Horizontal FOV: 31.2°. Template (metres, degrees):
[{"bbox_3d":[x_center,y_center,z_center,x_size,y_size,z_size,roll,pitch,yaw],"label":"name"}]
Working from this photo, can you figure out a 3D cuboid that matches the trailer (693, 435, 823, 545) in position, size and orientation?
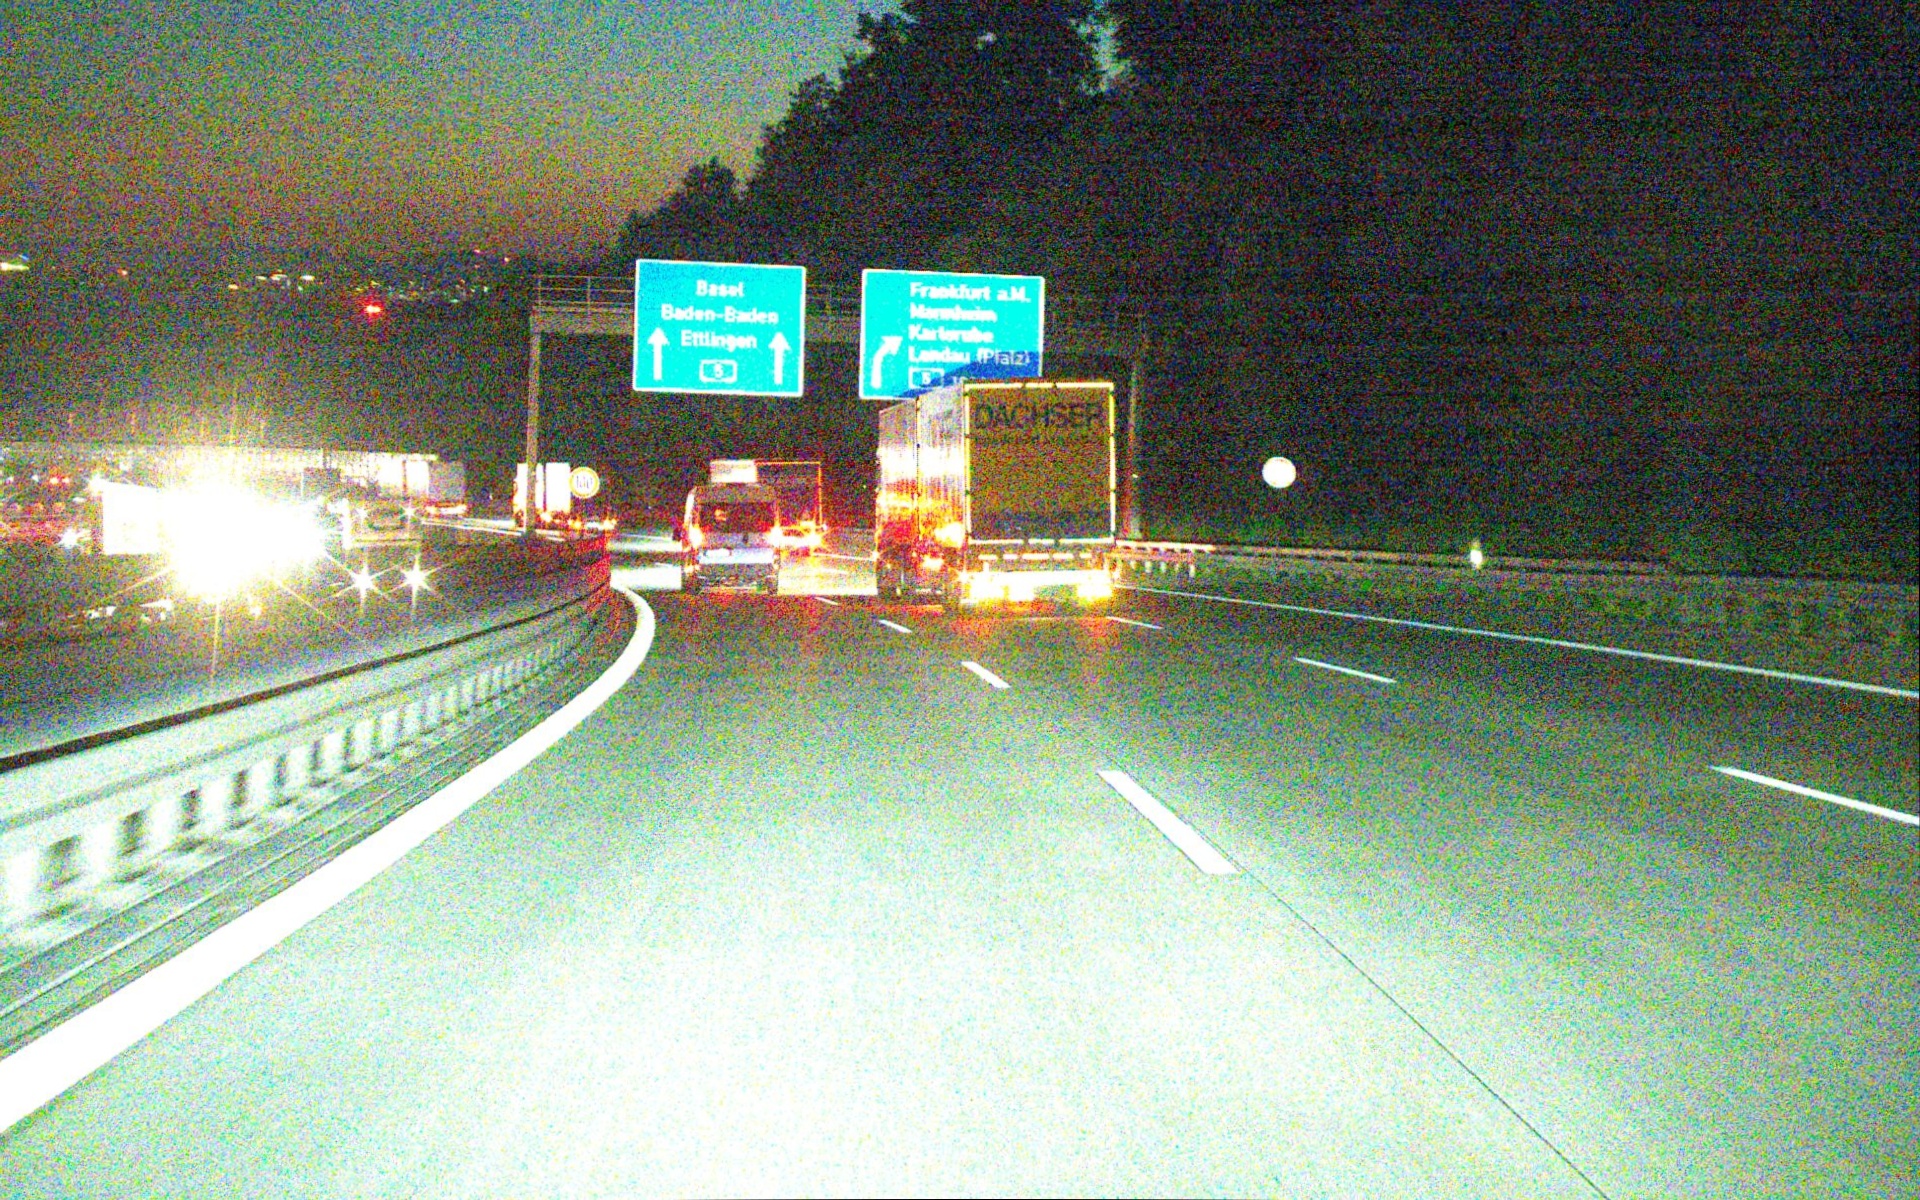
[{"bbox_3d":[-8.216,-4.520,137.798,2.853,4.053,13.211,-2,3,-13],"label":"trailer"}]

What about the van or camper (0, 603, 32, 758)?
[{"bbox_3d":[-13.831,1.143,45.702,1.993,2.006,5.223,-2,2,-6],"label":"van or camper"}]

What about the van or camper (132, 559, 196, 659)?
[{"bbox_3d":[-25.427,0.232,109.906,1.833,2.961,6.402,-2,2,-13],"label":"van or camper"}]

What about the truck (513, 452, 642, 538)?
[{"bbox_3d":[-22.645,-6.280,201.765,3.914,4.611,21.027,-2,3,-16],"label":"truck"}]

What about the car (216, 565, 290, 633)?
[{"bbox_3d":[-16.336,0.002,79.373,1.605,1.474,4.075,0,-1,-12],"label":"car"}]

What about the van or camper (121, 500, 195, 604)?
[{"bbox_3d":[-27.125,-1.646,116.350,2.268,3.367,5.697,-2,2,-13],"label":"van or camper"}]

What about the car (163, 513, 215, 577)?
[{"bbox_3d":[-29.515,-2.140,131.555,1.833,2.362,5.449,-2,2,-13],"label":"car"}]

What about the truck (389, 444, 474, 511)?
[{"bbox_3d":[-37.097,-8.655,240.863,3.343,4.460,13.915,1,2,-19],"label":"truck"}]

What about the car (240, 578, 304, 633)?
[{"bbox_3d":[-19.835,0.132,99.172,1.600,1.437,4.001,-2,2,-9],"label":"car"}]

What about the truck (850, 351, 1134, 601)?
[{"bbox_3d":[0.232,-2.232,66.011,3.481,4.120,18.713,0,1,-6],"label":"truck"}]

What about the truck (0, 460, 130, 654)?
[{"bbox_3d":[-21.269,-1.002,78.969,3.417,4.208,6.284,-2,2,-7],"label":"truck"}]

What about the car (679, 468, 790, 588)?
[{"bbox_3d":[-5.256,-1.655,79.516,2.337,2.631,5.249,1,1,-6],"label":"car"}]

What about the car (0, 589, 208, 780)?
[{"bbox_3d":[-9.379,0.830,35.998,2.139,1.700,5.113,-2,2,-3],"label":"car"}]

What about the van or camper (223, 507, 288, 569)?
[{"bbox_3d":[-32.910,-2.926,160.468,2.444,2.751,6.491,-2,2,-15],"label":"van or camper"}]

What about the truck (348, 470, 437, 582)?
[{"bbox_3d":[-18.808,-2.448,114.312,2.654,3.578,8.552,0,1,-8],"label":"truck"}]

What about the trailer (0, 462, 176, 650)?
[{"bbox_3d":[-21.987,-1.157,85.137,3.435,4.226,12.835,-2,2,-6],"label":"trailer"}]

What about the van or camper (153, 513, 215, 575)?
[{"bbox_3d":[-35.940,-2.611,159.074,2.444,2.751,6.491,-2,2,-15],"label":"van or camper"}]
